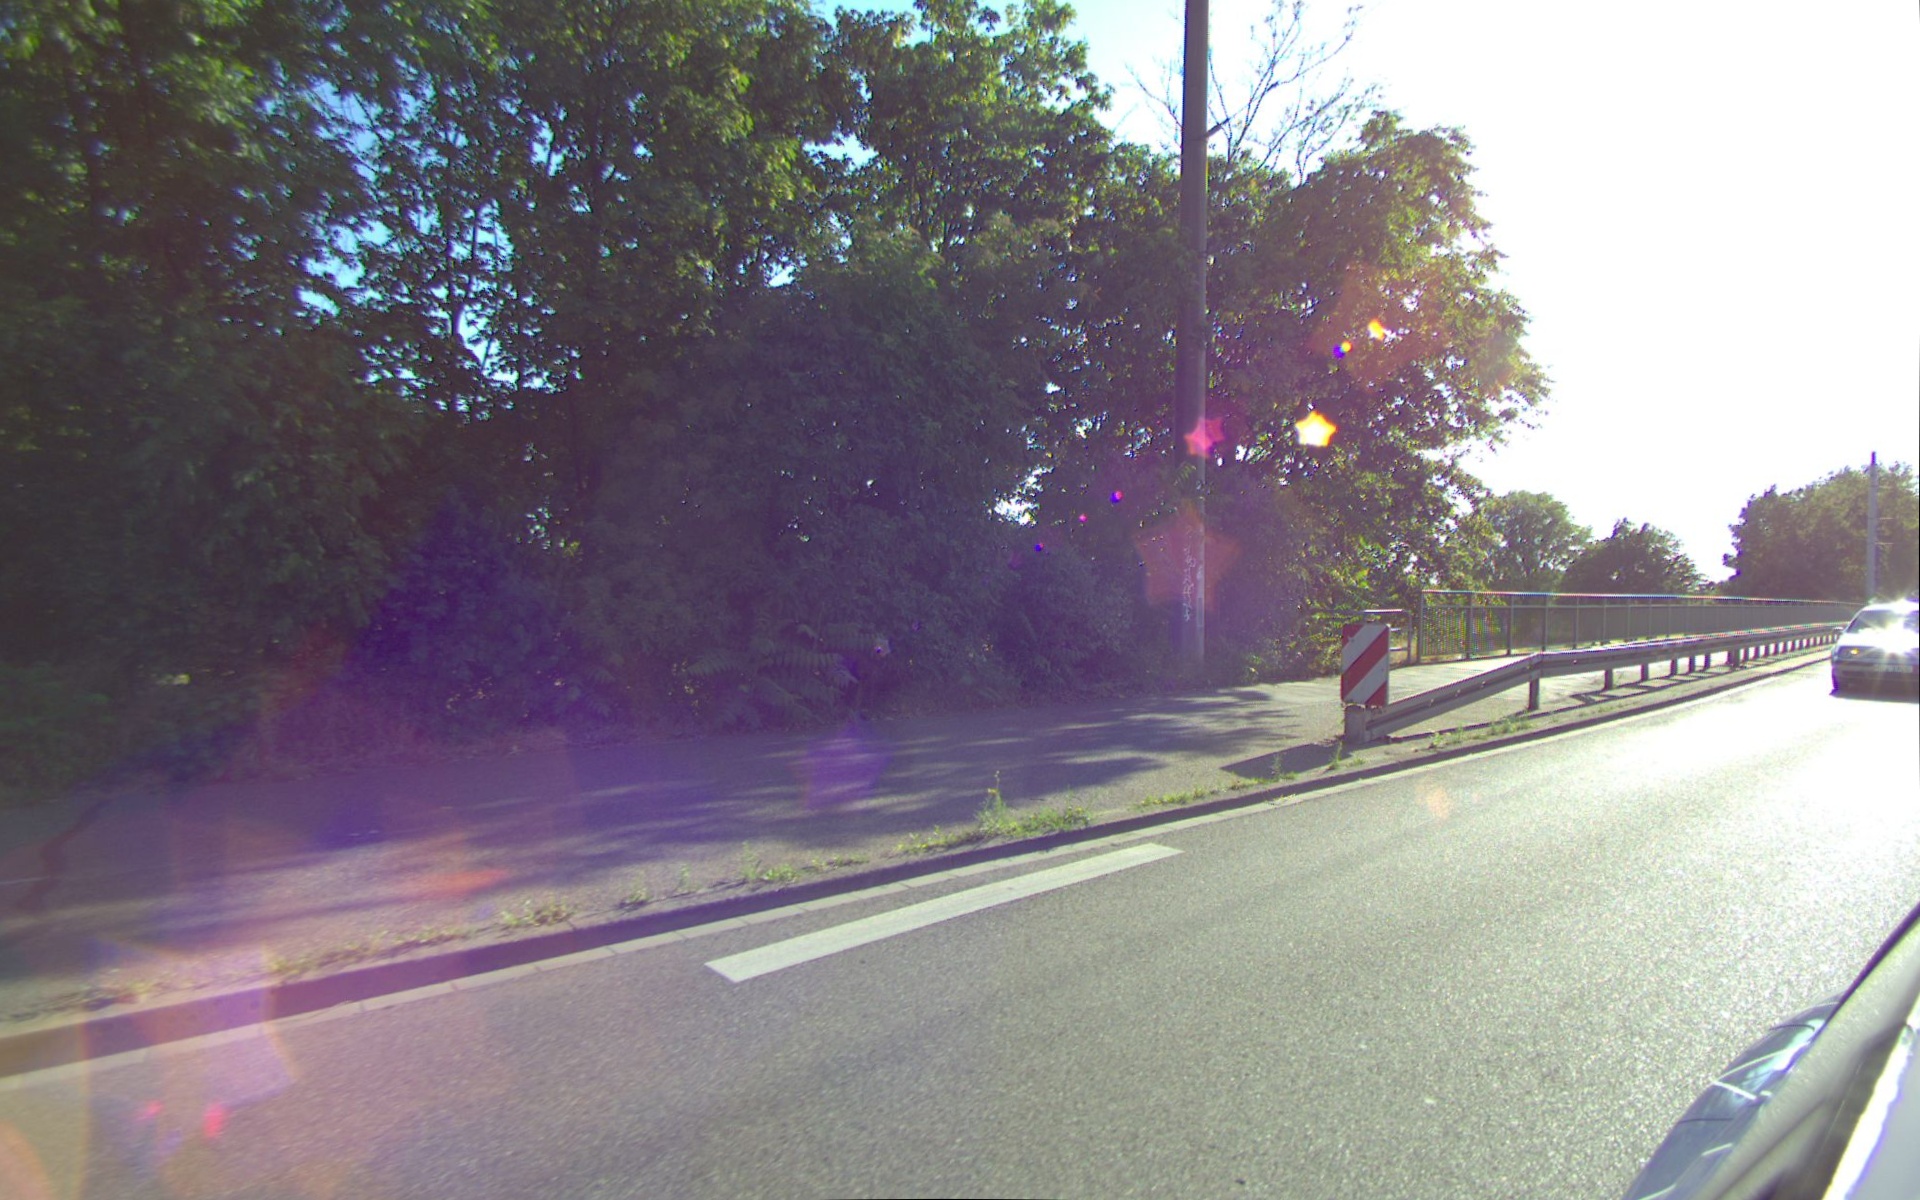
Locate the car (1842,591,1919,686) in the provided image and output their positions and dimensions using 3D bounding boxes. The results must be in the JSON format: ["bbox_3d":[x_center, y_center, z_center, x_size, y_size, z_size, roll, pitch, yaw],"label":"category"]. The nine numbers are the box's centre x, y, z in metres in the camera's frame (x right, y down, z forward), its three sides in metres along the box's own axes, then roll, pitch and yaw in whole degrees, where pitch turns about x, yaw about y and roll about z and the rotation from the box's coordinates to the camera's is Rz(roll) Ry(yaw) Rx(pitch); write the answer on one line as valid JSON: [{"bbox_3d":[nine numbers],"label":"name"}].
[{"bbox_3d":[16.121,0.575,16.849,4.064,1.435,1.691,-1,0,-42],"label":"car"}]
